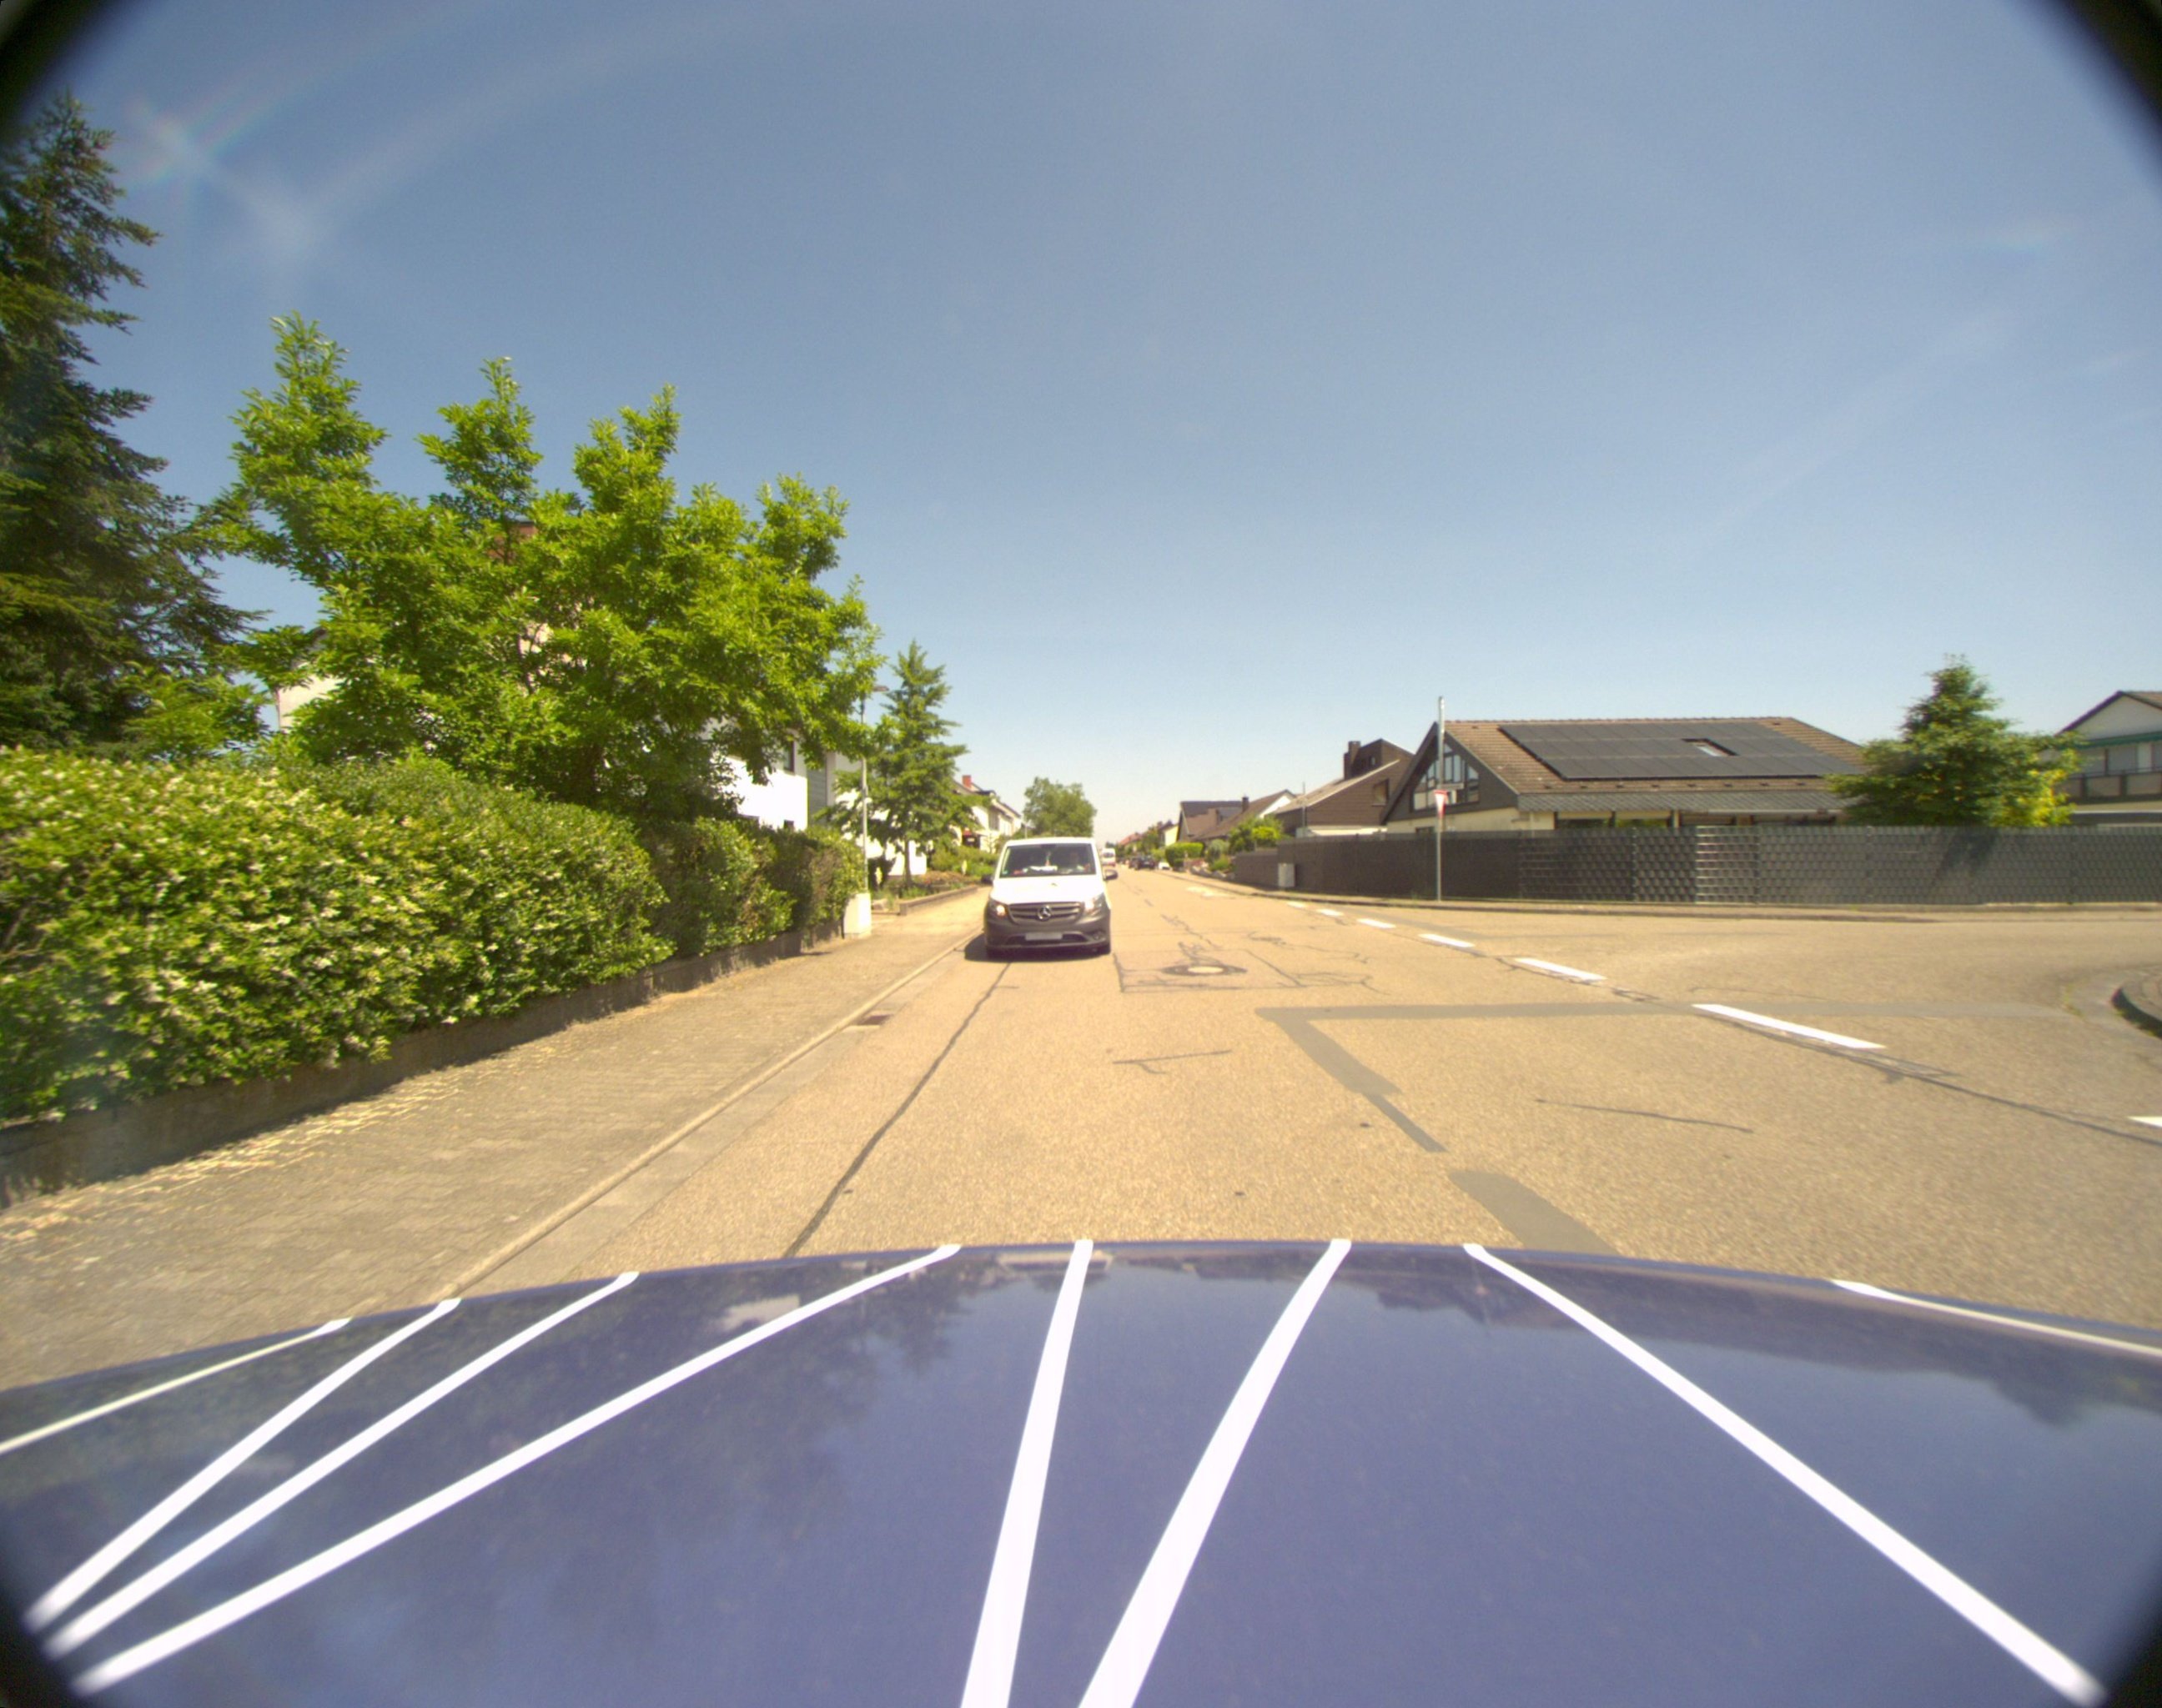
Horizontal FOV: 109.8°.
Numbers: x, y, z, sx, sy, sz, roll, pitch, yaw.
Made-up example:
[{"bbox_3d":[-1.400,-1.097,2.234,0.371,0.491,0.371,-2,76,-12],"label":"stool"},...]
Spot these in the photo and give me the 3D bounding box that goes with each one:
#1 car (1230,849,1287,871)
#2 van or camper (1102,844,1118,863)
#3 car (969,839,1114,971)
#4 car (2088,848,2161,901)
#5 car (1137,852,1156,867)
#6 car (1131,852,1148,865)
[{"bbox_3d":[13.787,0.433,59.105,3.997,1.674,1.902,-1,0,-1],"label":"car"},{"bbox_3d":[4.136,-0.072,108.840,2.069,2.577,4.603,0,0,0],"label":"van or camper"},{"bbox_3d":[-0.542,0.696,13.227,2.018,1.846,5.067,0,1,0],"label":"car"},{"bbox_3d":[30.682,0.567,20.501,1.758,1.437,3.874,0,0,-5],"label":"car"},{"bbox_3d":[6.622,0.533,76.770,1.807,1.390,4.001,0,0,4],"label":"car"},{"bbox_3d":[7.127,0.536,93.013,1.998,1.390,4.001,-1,1,4],"label":"car"}]
